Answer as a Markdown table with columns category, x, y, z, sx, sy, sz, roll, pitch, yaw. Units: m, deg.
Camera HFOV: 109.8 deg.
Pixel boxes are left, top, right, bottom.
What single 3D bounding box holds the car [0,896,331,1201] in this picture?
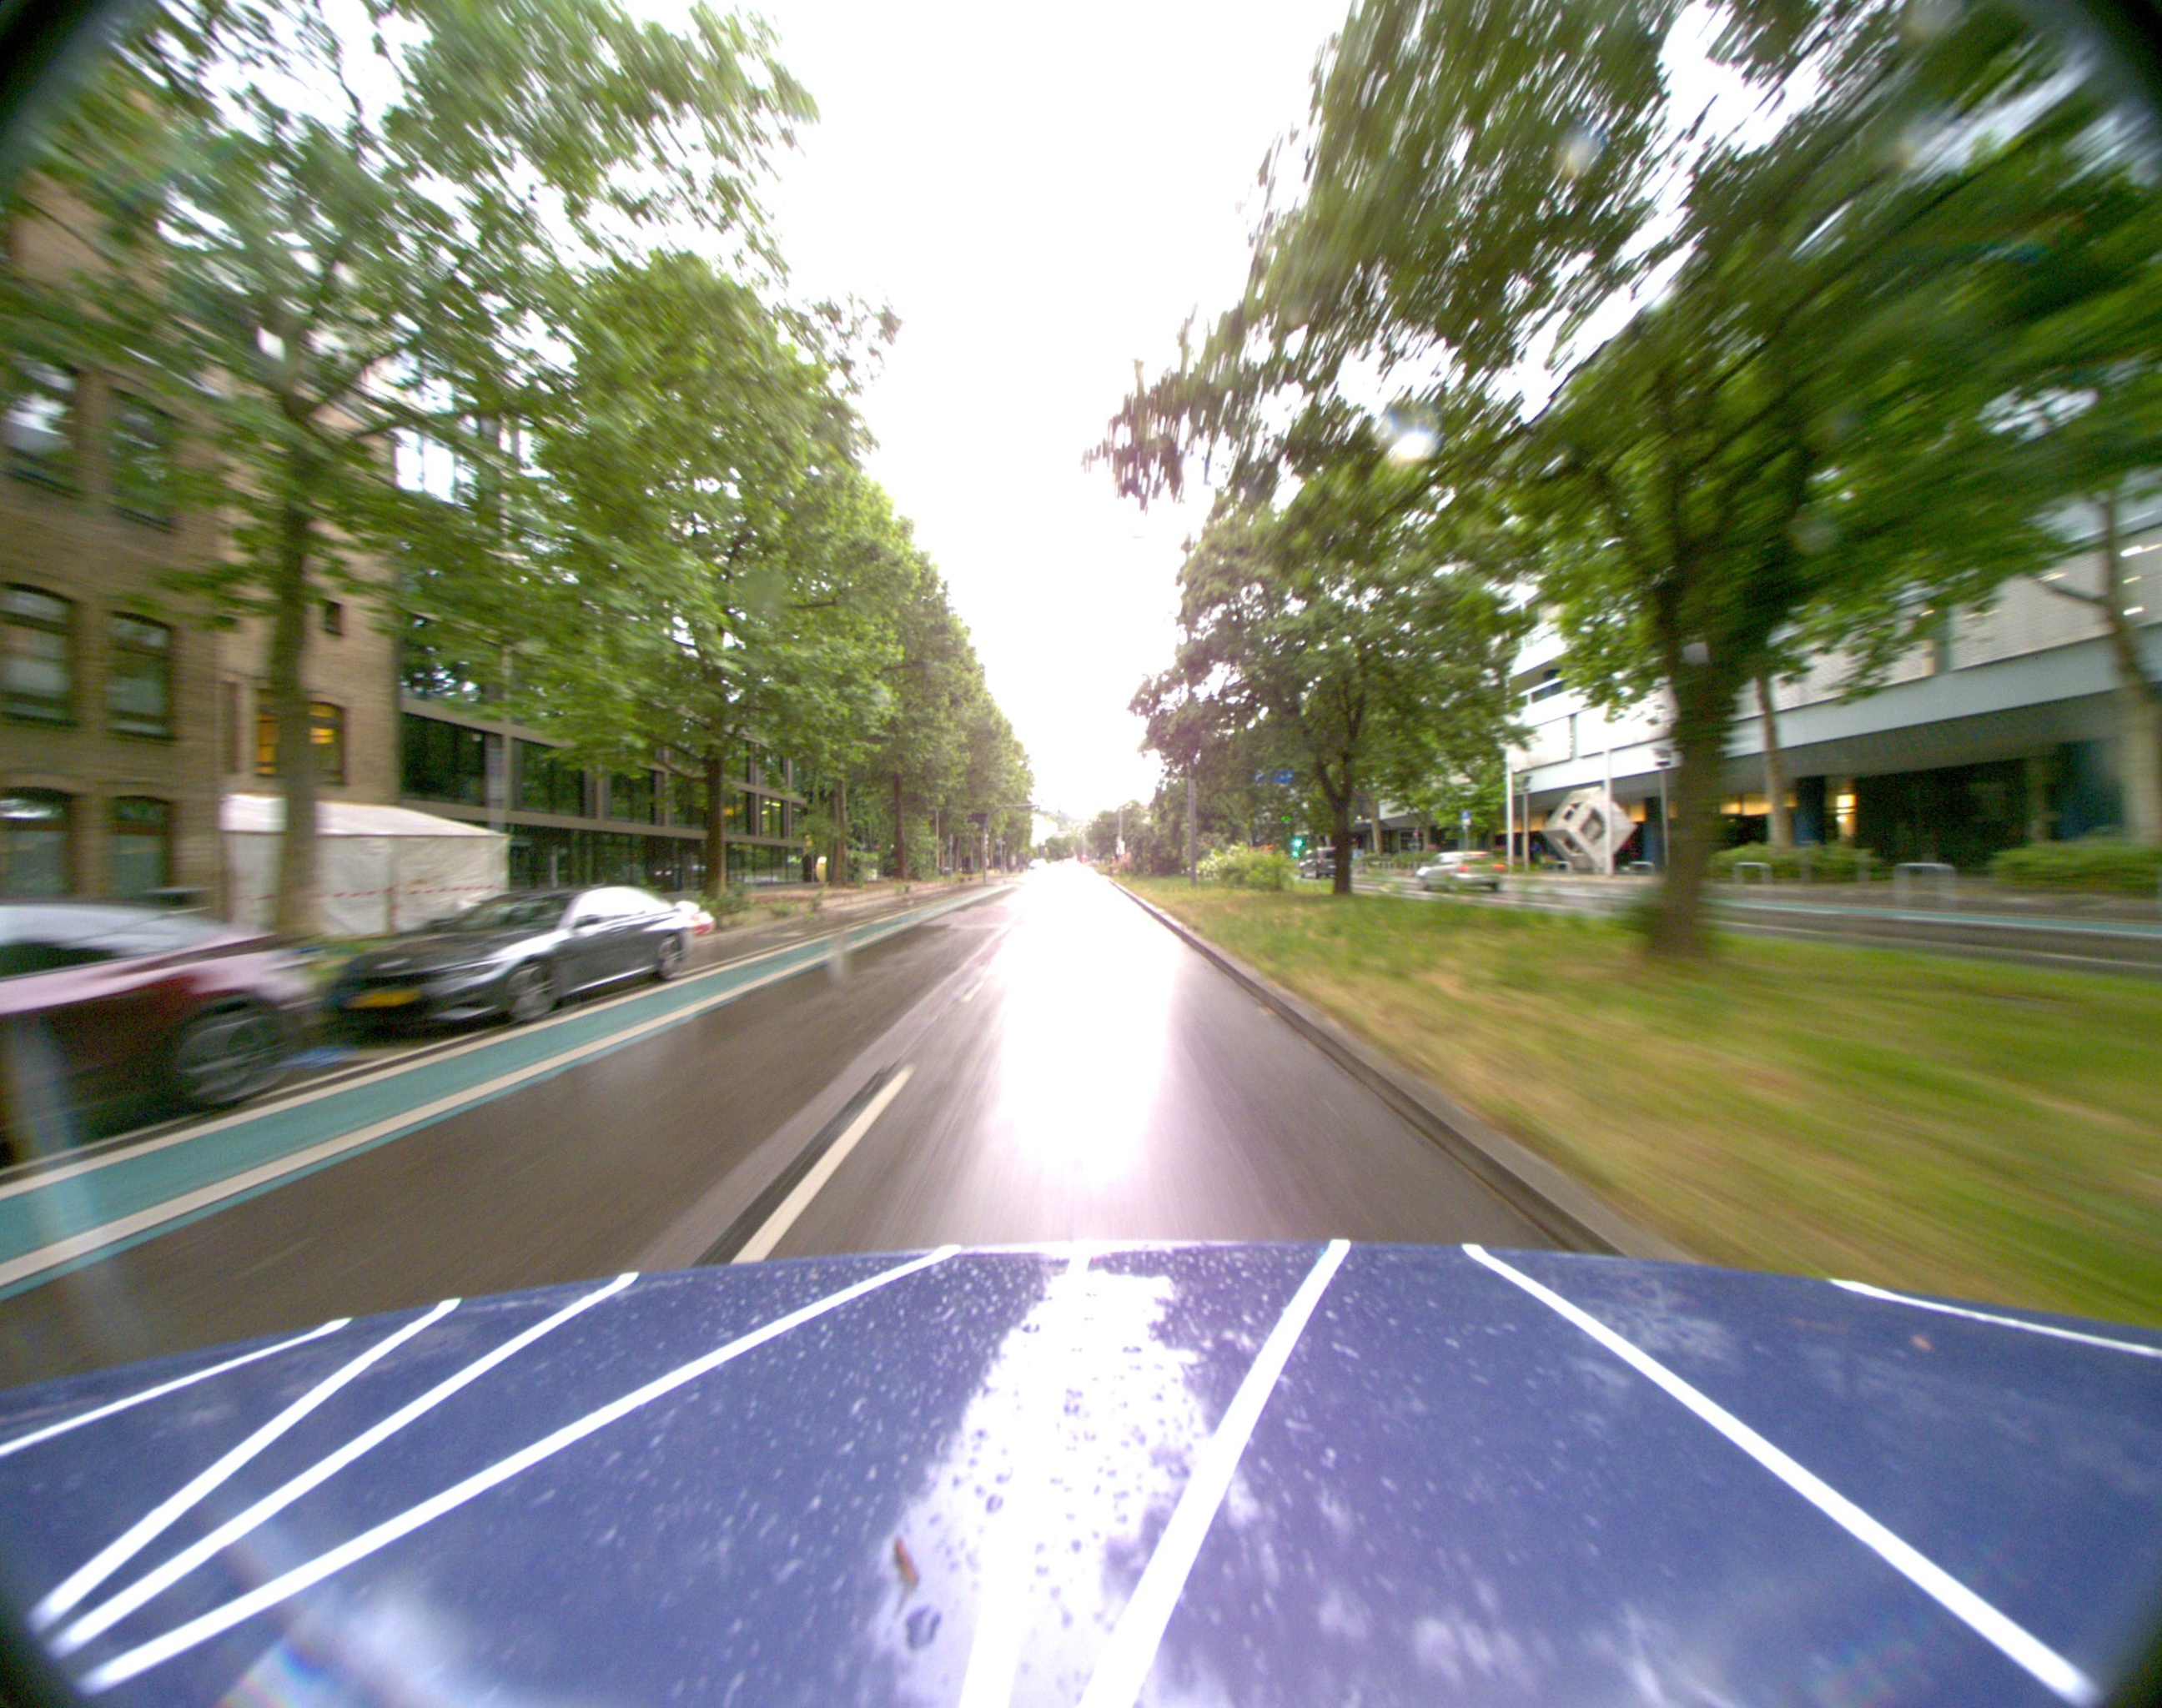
| category | x | y | z | sx | sy | sz | roll | pitch | yaw |
| --- | --- | --- | --- | --- | --- | --- | --- | --- | --- |
| car | -6.961 | 1.158 | 3.791 | 1.999 | 1.580 | 4.559 | -2 | 0 | -3 |

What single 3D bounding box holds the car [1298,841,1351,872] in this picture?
| category | x | y | z | sx | sy | sz | roll | pitch | yaw |
| --- | --- | --- | --- | --- | --- | --- | --- | --- | --- |
| car | 14.572 | 0.151 | 45.653 | 1.998 | 1.791 | 4.283 | -1 | 0 | 3 |

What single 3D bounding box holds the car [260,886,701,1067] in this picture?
| category | x | y | z | sx | sy | sz | roll | pitch | yaw |
| --- | --- | --- | --- | --- | --- | --- | --- | --- | --- |
| car | -6.786 | 1.250 | 9.436 | 1.747 | 1.424 | 4.585 | -2 | 0 | 1 |

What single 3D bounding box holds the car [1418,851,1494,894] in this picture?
| category | x | y | z | sx | sy | sz | roll | pitch | yaw |
| --- | --- | --- | --- | --- | --- | --- | --- | --- | --- |
| car | 13.684 | 0.634 | 27.902 | 1.163 | 1.454 | 3.561 | -1 | 0 | 2 |
